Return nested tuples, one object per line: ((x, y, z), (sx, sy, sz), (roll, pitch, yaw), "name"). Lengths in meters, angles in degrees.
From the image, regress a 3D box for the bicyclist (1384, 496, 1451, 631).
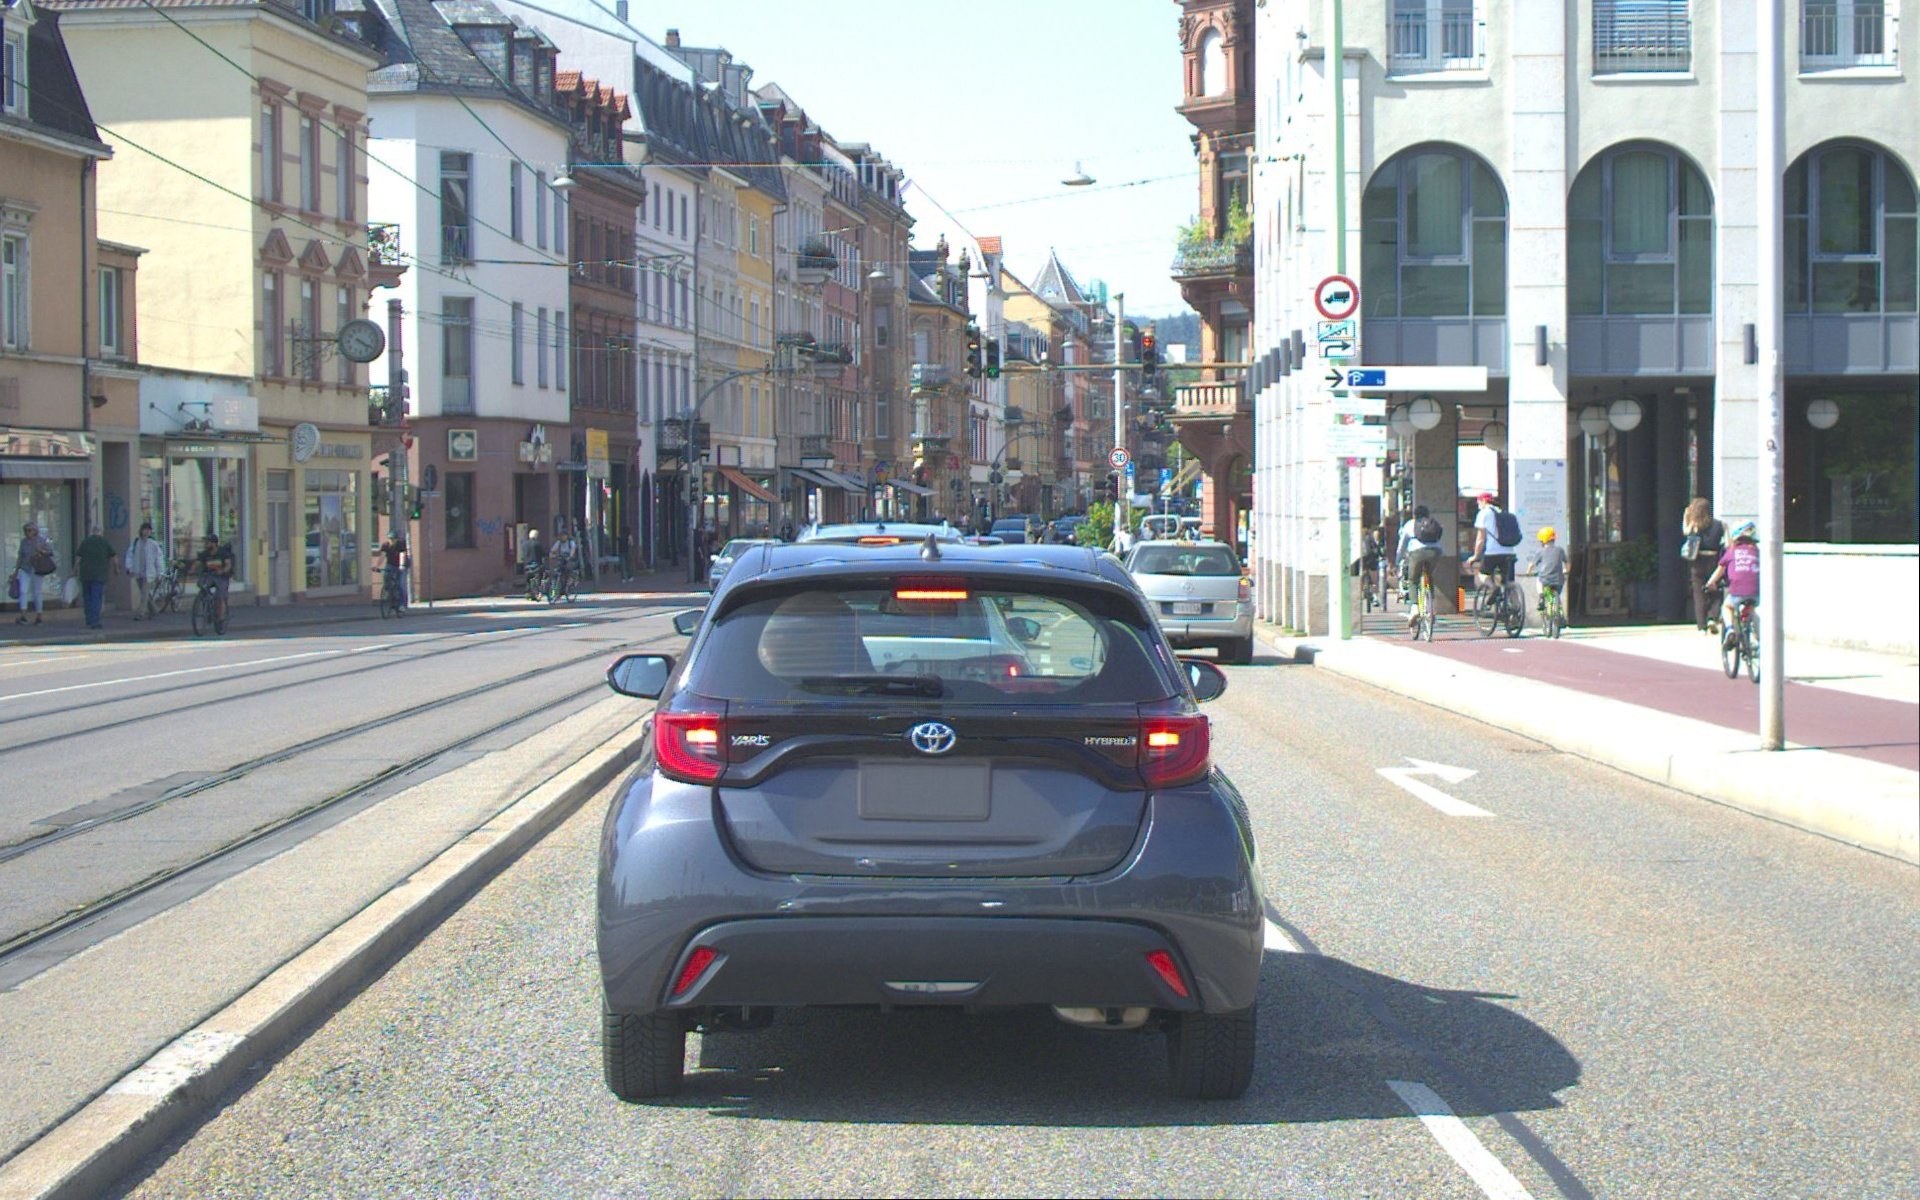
((5.818, -0.475, 43.787), (0.701, 1.689, 0.924), (-1, 1, 0), "bicyclist")

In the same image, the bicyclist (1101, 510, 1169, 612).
((4.495, -1.010, 88.351), (1.227, 2.520, 1.105), (4, 1, -22), "bicyclist")

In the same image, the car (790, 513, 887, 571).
((-3.381, -1.637, 96.733), (1.994, 1.581, 4.651), (0, 1, 7), "car")

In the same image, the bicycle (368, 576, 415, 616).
((-11.068, -0.085, 66.950), (0.620, 0.713, 1.731), (1, 2, -1), "bicycle")

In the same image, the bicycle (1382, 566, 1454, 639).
((5.832, 0.020, 43.843), (0.704, 0.879, 1.525), (-1, 1, 0), "bicycle")

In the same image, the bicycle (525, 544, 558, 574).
((-10.363, -1.021, 85.217), (0.620, 0.713, 1.771), (1, 2, -1), "bicycle")

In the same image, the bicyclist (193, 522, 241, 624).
((-12.221, -0.453, 56.541), (0.627, 1.644, 0.622), (2, 2, 0), "bicyclist")

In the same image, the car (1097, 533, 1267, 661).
((2.684, -0.074, 42.341), (1.705, 1.461, 4.326), (1, 1, -1), "car")

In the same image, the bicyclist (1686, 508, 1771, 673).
((6.589, -0.086, 29.488), (0.534, 1.378, 0.669), (-2, 1, -1), "bicyclist")

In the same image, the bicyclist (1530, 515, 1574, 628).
((7.349, -0.361, 42.663), (0.422, 1.378, 0.443), (-2, 1, -1), "bicyclist")

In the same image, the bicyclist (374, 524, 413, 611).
((-11.039, -0.636, 66.964), (0.627, 1.644, 0.622), (2, 2, 0), "bicyclist")

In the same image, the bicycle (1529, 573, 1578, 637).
((7.366, 0.056, 42.671), (0.416, 0.763, 0.962), (-2, 1, 0), "bicycle")

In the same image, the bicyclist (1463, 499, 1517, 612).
((6.924, -0.584, 44.916), (0.484, 1.461, 0.443), (-3, 1, -39), "bicyclist")

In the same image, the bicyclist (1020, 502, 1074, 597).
((2.397, -1.401, 94.892), (1.228, 2.520, 1.105), (4, 1, -5), "bicyclist")

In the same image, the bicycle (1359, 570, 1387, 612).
((7.933, -0.182, 66.100), (0.416, 0.763, 1.205), (-2, 1, 3), "bicycle")

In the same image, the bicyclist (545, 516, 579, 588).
((-9.310, -1.126, 80.394), (0.627, 1.644, 0.621), (2, 2, 8), "bicyclist")

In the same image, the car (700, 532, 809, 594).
((-4.960, -0.924, 83.404), (1.732, 1.455, 4.372), (0, 1, 9), "car")

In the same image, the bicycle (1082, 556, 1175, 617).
((4.327, -0.357, 88.612), (1.112, 1.415, 3.008), (3, 1, -23), "bicycle")

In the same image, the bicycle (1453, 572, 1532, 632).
((6.956, 0.023, 44.915), (0.416, 0.763, 0.961), (-3, 1, -39), "bicycle")

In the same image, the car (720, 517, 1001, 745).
((-0.718, 0.170, 25.521), (1.897, 1.525, 4.000), (1, 1, -1), "car")

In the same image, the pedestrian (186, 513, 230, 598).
((-14.740, -0.876, 67.416), (0.649, 1.596, 0.566), (4, 3, 0), "pedestrian")

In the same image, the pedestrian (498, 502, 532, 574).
((-11.068, -1.543, 85.479), (0.736, 1.760, 0.787), (0, 2, 0), "pedestrian")

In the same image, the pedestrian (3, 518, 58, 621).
((-15.128, -0.502, 55.964), (0.649, 1.596, 0.566), (4, 3, 0), "pedestrian")

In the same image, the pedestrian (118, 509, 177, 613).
((-14.251, -0.683, 60.314), (0.736, 1.760, 0.787), (4, 1, 0), "pedestrian")

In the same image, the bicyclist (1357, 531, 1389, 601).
((7.924, -0.658, 66.029), (0.538, 1.312, 0.672), (-1, 1, 3), "bicyclist")

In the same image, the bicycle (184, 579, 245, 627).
((-12.231, 0.048, 56.443), (0.620, 0.713, 1.771), (1, 2, -1), "bicycle")

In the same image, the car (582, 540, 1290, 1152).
((-0.095, 0.578, 10.313), (1.720, 1.468, 3.658), (1, 1, -1), "car")

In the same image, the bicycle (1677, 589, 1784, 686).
((6.598, 0.311, 29.500), (0.514, 0.763, 1.661), (-2, 1, 0), "bicycle")

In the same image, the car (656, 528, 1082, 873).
((-0.449, 0.413, 17.521), (1.897, 1.525, 4.000), (1, 1, -1), "car")

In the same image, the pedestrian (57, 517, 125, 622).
((-14.135, -0.496, 55.951), (0.762, 1.648, 0.711), (4, 1, 7), "pedestrian")

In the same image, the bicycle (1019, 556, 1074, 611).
((2.380, -0.466, 95.065), (1.112, 1.415, 3.008), (3, 1, -5), "bicycle")

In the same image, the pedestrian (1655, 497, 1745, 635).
((9.007, -0.419, 41.889), (0.739, 1.609, 1.016), (4, 1, -1), "pedestrian")

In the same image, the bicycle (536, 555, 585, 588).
((-9.330, -0.678, 80.371), (0.620, 0.713, 2.044), (2, 2, 9), "bicycle")
